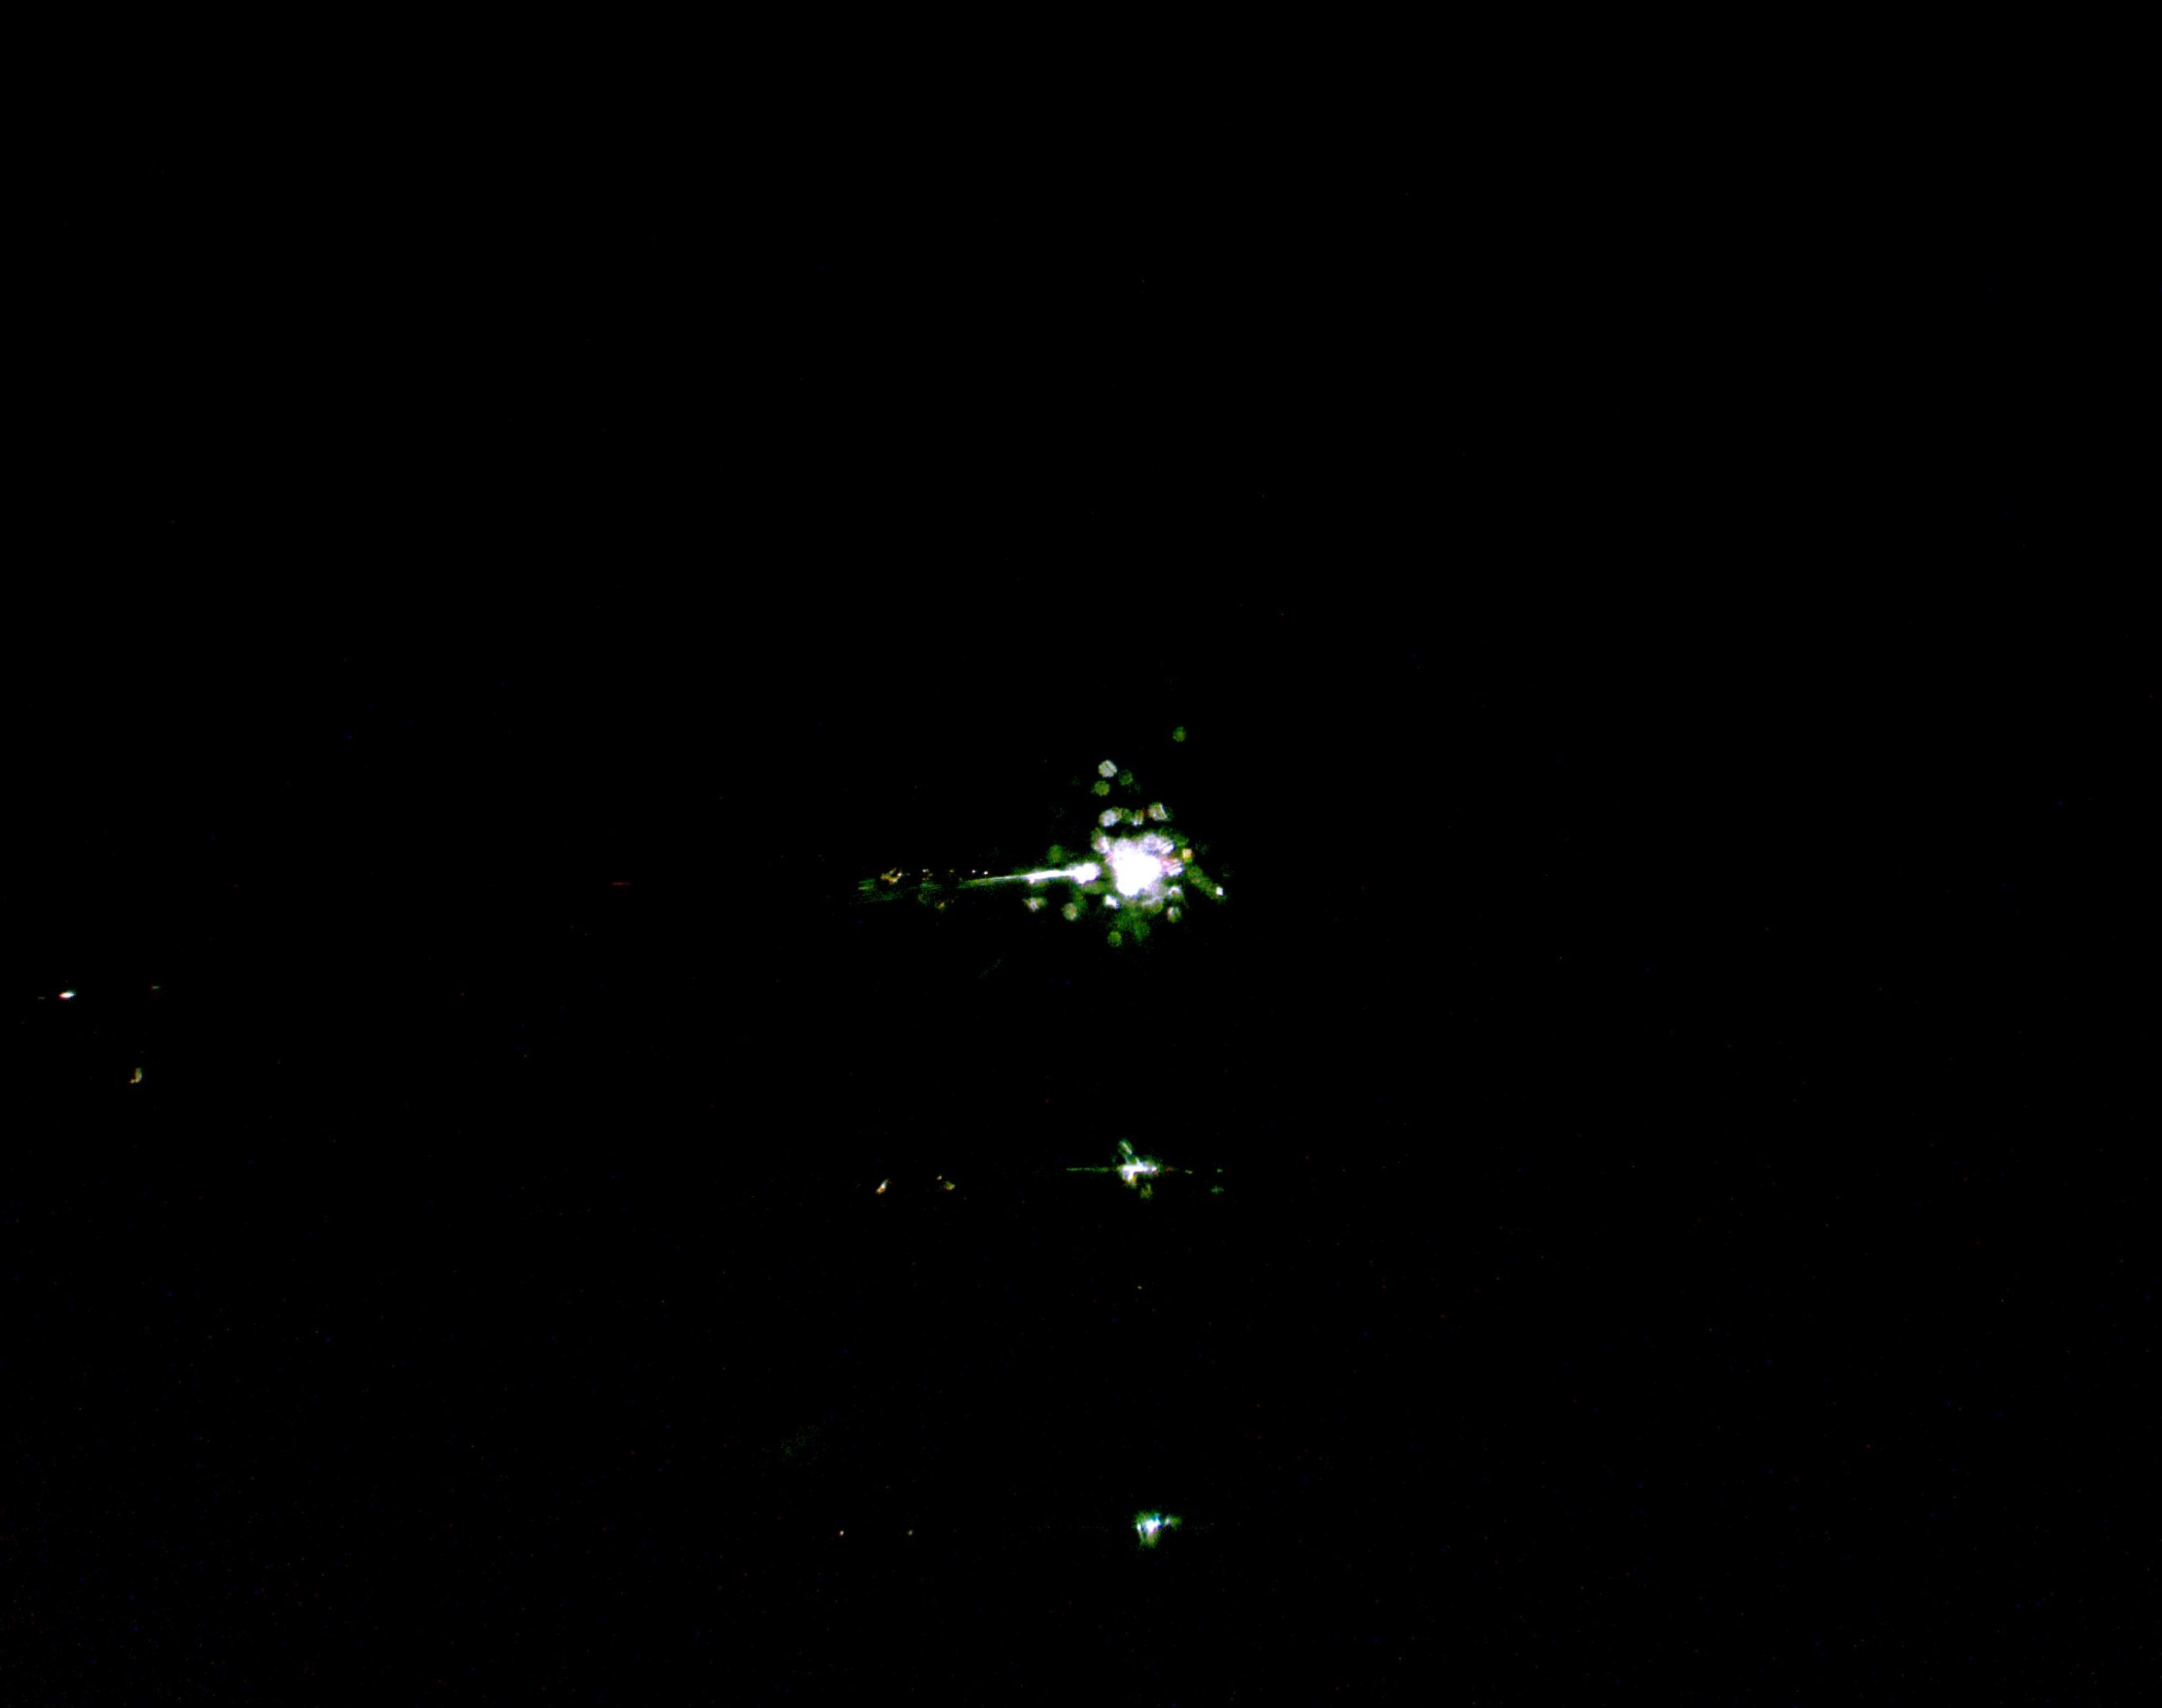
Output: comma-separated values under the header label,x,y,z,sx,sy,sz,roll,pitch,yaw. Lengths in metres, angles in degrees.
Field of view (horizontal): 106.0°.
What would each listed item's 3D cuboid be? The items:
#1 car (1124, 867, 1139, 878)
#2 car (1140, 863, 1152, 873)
label,x,y,z,sx,sy,sz,roll,pitch,yaw
car,6.370,2.311,102.364,1.731,1.402,3.867,-1,-1,6
car,11.129,2.461,139.584,1.771,1.667,4.481,-1,-1,7
